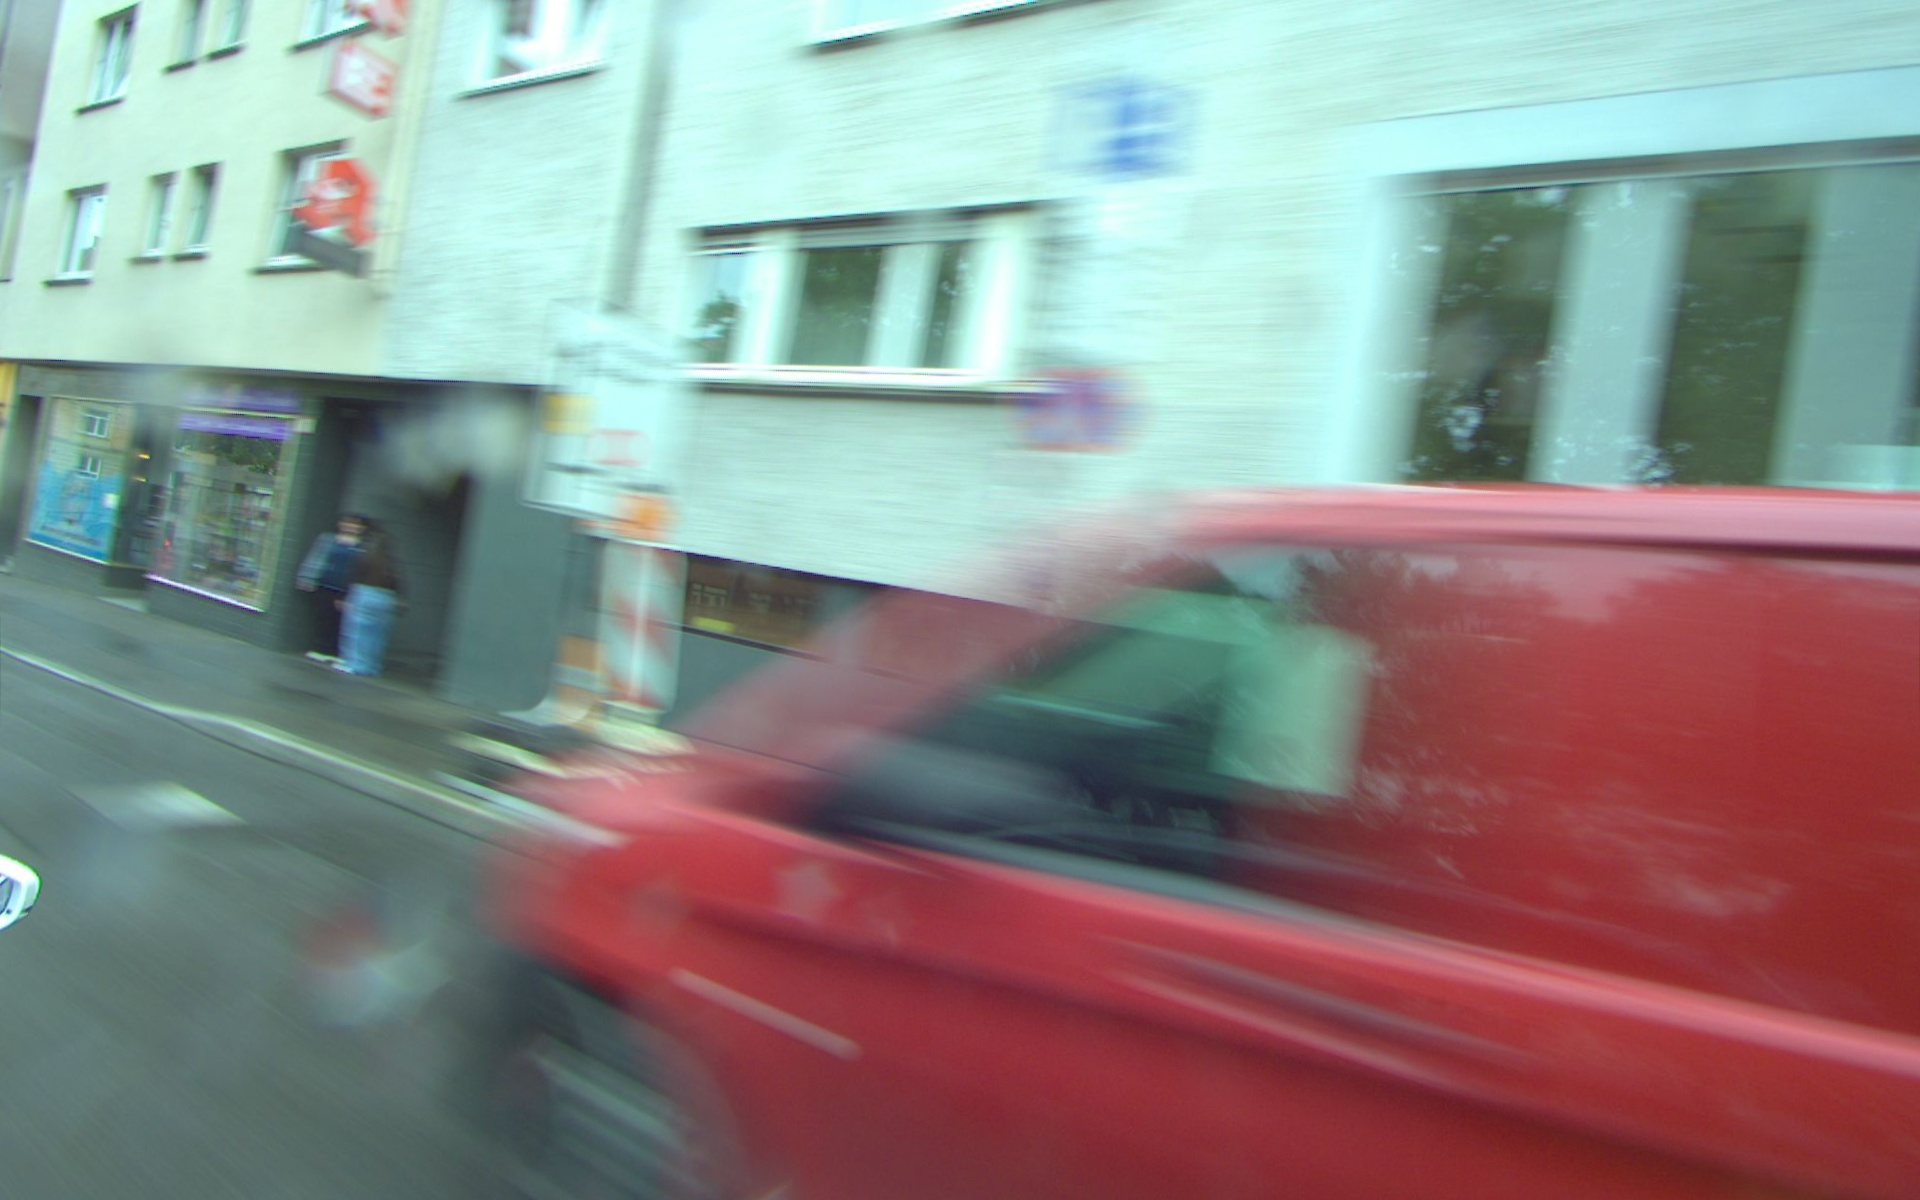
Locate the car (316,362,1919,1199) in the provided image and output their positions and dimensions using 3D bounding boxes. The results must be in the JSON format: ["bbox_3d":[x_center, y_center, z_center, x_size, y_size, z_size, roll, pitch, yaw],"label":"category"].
[{"bbox_3d":[1.341,0.775,1.902,5.156,1.859,1.980,7,-2,30],"label":"car"}]

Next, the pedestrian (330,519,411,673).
[{"bbox_3d":[-6.670,-0.041,11.395,0.326,1.663,0.481,7,-2,35],"label":"pedestrian"}]

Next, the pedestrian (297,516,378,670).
[{"bbox_3d":[-7.357,-0.086,11.888,0.509,1.739,0.461,6,-3,40],"label":"pedestrian"}]
